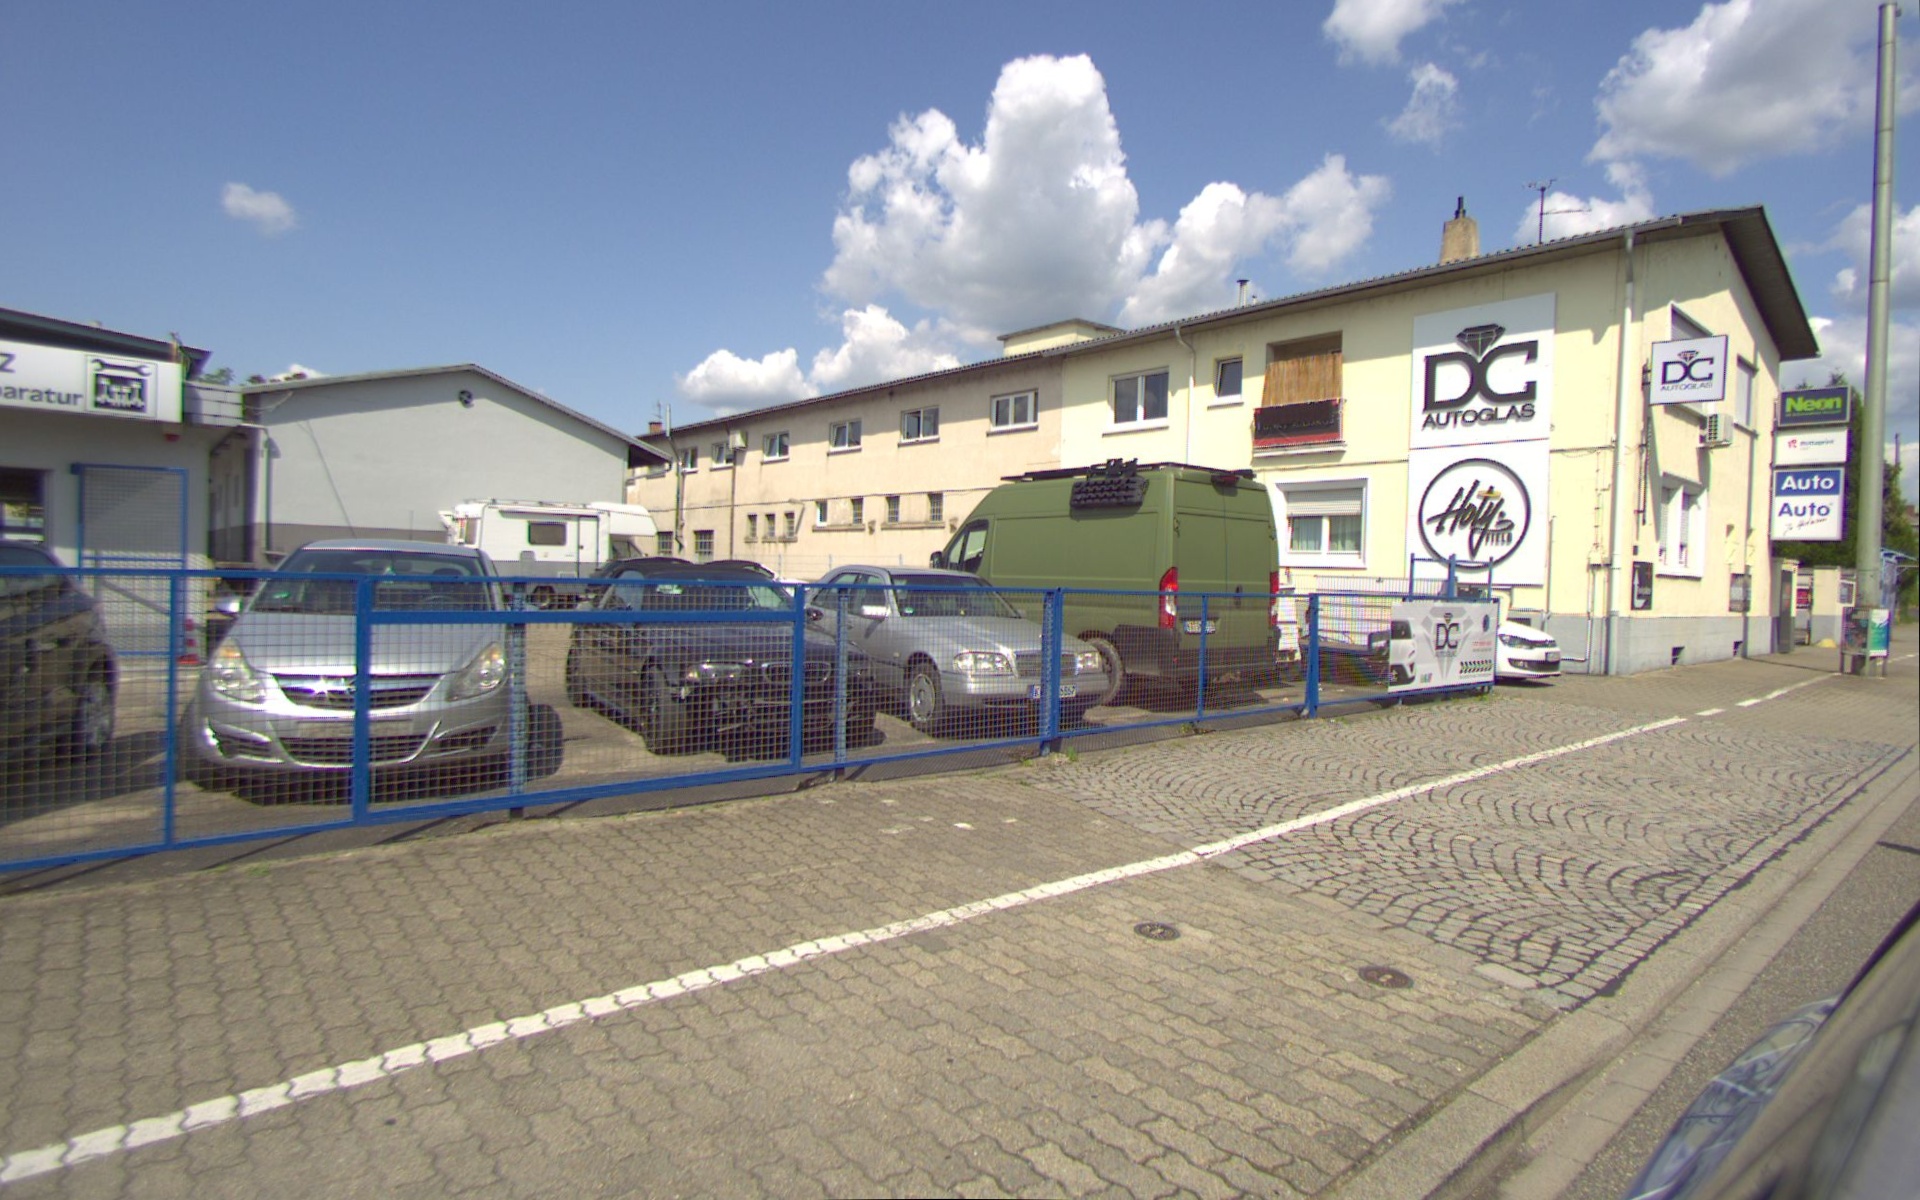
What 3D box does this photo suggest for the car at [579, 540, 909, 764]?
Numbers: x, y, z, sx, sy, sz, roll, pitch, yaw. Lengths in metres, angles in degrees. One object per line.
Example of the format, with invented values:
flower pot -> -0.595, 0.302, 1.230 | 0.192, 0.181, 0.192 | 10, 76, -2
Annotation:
car -> -2.129, 0.274, 8.887 | 1.737, 1.470, 4.128 | 1, 2, -28

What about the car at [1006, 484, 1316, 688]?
car -> 2.650, -0.247, 14.239 | 1.557, 2.436, 4.208 | 1, 2, -39

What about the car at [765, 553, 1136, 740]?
car -> -0.339, 0.287, 10.193 | 1.679, 1.470, 4.292 | 1, 2, -33

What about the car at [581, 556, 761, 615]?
car -> -7.306, -0.358, 25.801 | 4.112, 1.378, 1.645 | 0, 2, -41

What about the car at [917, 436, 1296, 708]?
car -> 1.587, -0.350, 12.245 | 2.075, 2.675, 4.208 | 1, 2, -39

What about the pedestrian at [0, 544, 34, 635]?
pedestrian -> -13.162, -0.156, 13.872 | 0.652, 1.224, 0.566 | 1, 1, -39

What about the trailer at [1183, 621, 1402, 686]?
trailer -> 4.749, 0.724, 14.640 | 1.307, 0.674, 2.730 | 0, 2, -42

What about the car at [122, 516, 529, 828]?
car -> -3.900, 0.281, 6.831 | 1.736, 1.470, 3.778 | 1, 2, -24

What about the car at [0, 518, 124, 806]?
car -> -5.635, 0.305, 4.860 | 1.606, 1.470, 3.700 | 1, 2, -25

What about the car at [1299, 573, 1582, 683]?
car -> 7.534, 0.361, 16.168 | 1.527, 1.481, 3.775 | 1, 2, -39

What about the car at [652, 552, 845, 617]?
car -> -4.844, -0.348, 23.538 | 4.112, 1.378, 1.645 | 0, 2, -41

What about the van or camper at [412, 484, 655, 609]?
van or camper -> -11.303, -1.323, 27.101 | 5.556, 3.002, 2.272 | 0, 2, -42
